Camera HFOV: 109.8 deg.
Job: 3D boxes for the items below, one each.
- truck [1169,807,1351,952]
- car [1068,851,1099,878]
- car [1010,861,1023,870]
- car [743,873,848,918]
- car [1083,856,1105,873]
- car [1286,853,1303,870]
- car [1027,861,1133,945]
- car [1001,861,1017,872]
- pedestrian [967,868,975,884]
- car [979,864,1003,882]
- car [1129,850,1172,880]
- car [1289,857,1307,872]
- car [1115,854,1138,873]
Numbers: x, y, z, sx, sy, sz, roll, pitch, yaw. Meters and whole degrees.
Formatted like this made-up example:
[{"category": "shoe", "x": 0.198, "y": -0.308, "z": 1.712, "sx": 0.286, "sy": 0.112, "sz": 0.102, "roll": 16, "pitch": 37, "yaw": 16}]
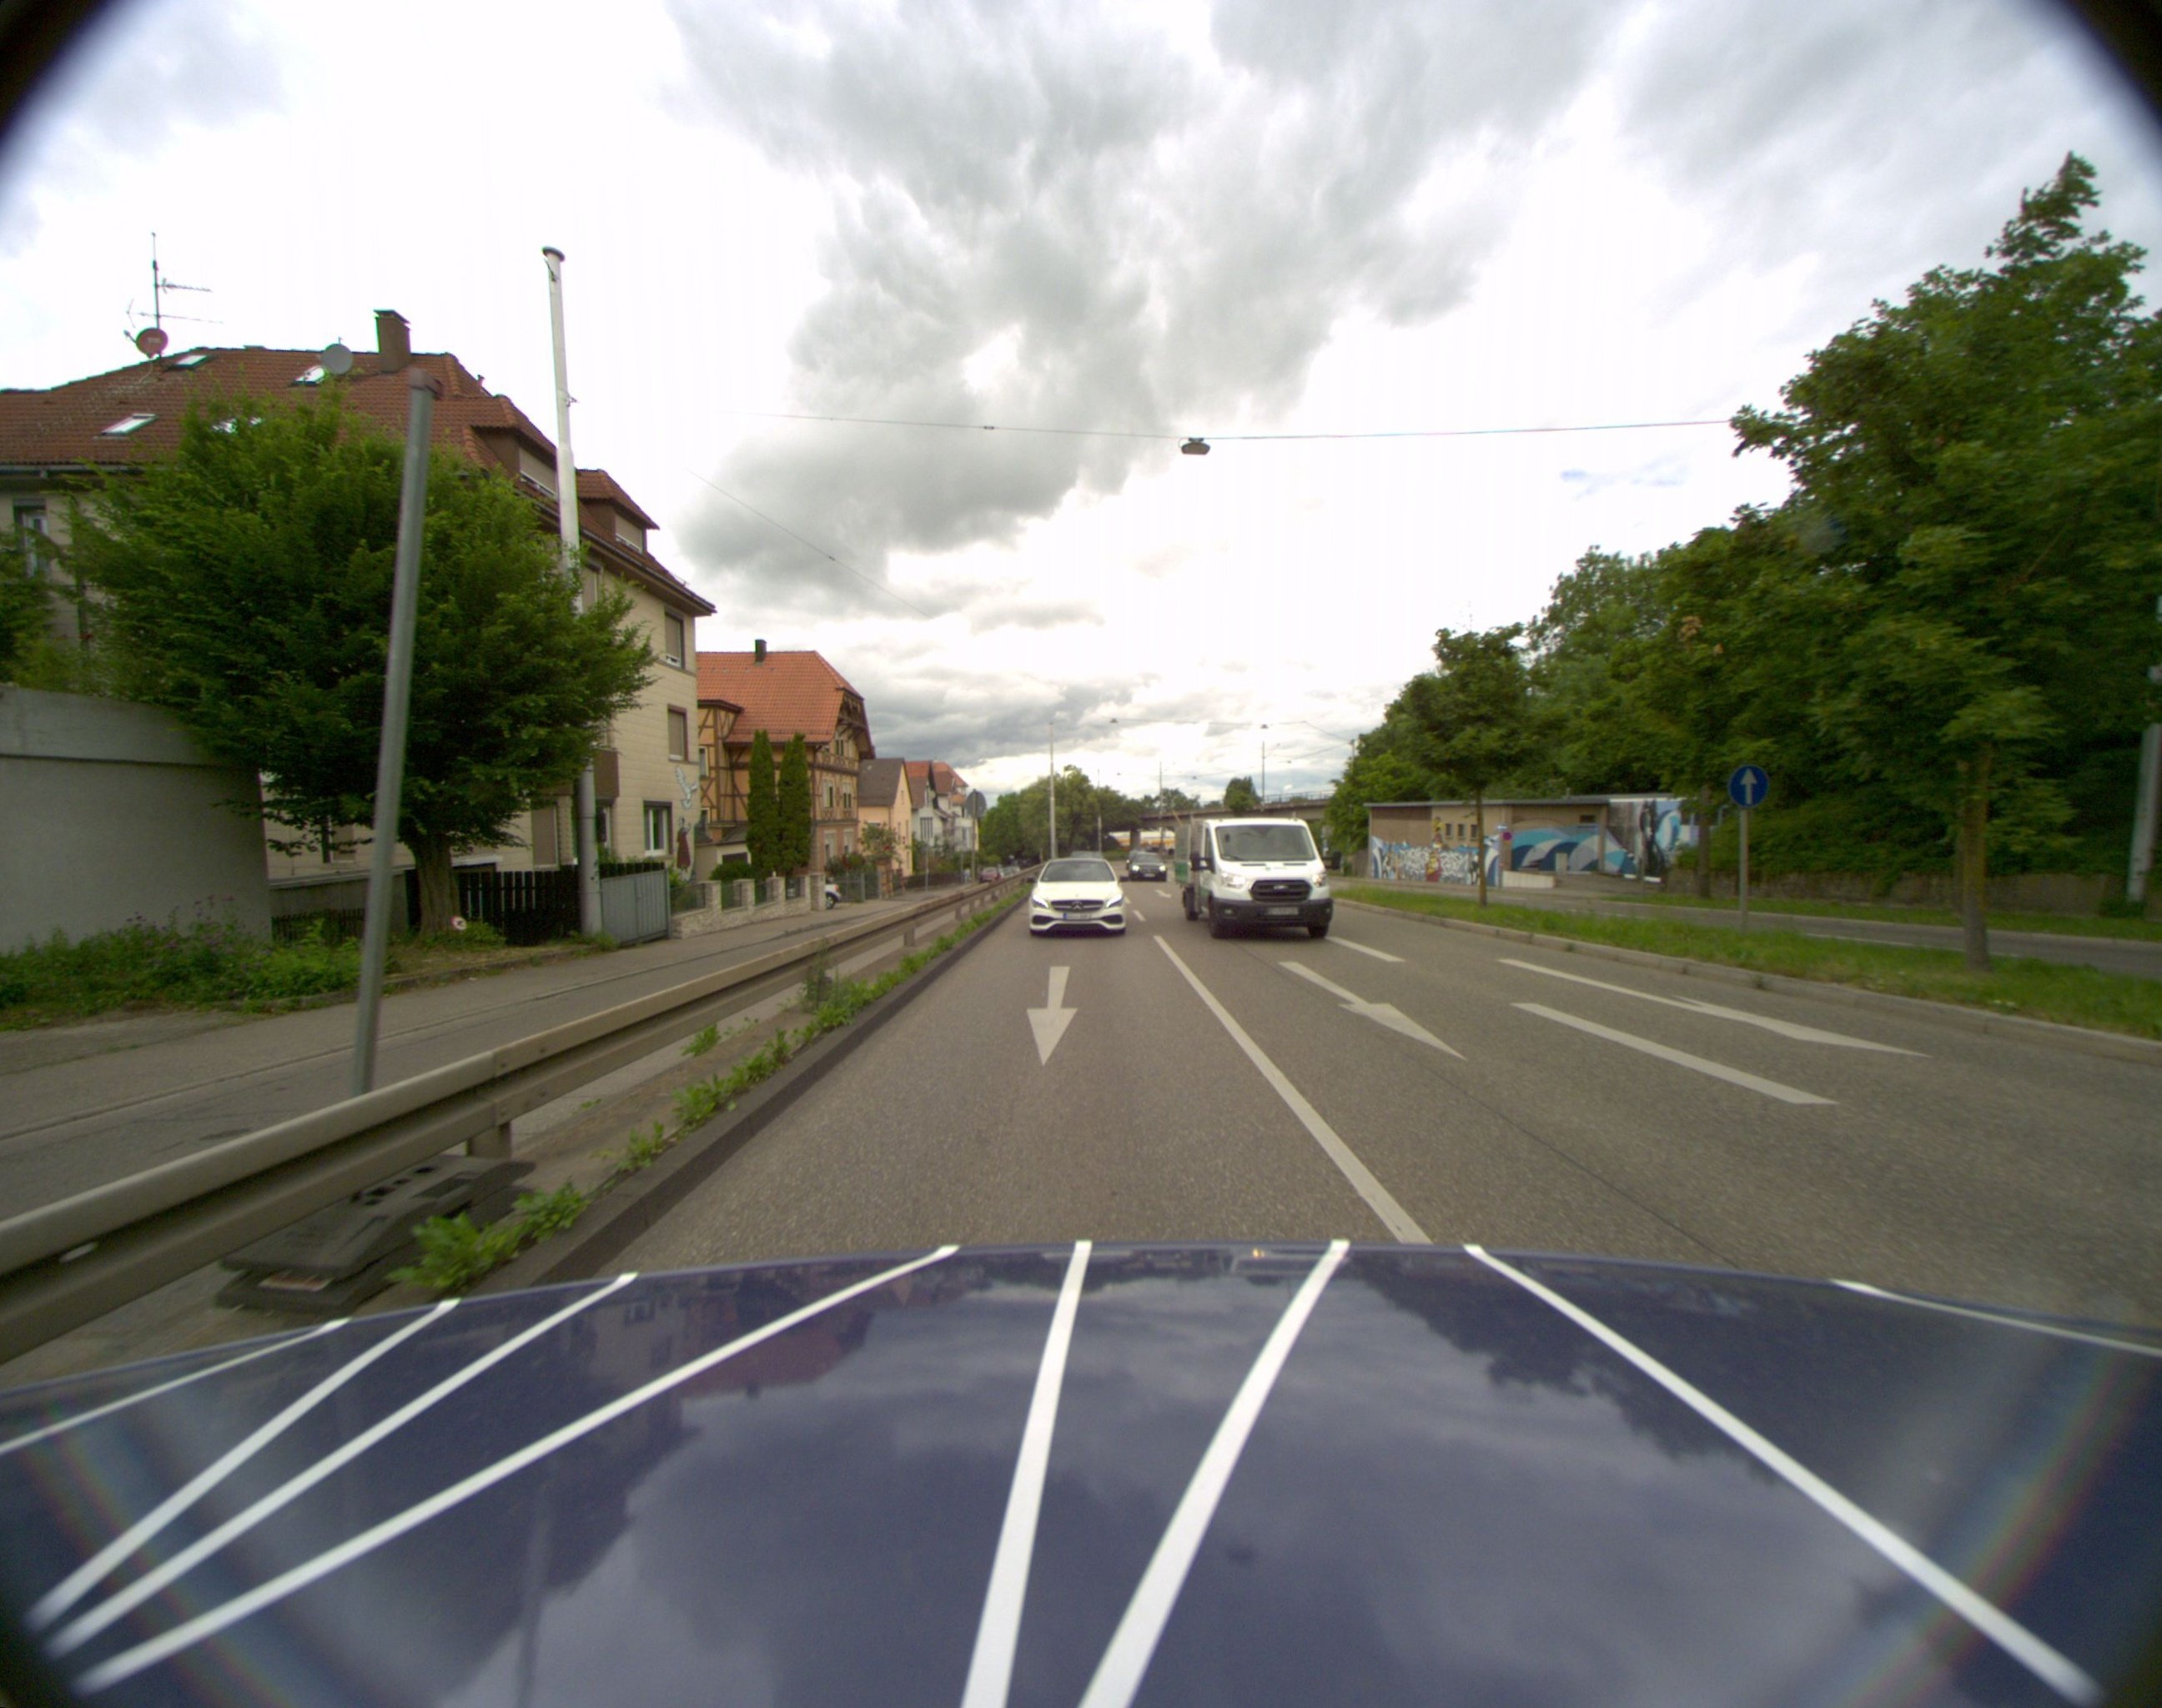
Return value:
[{"category": "truck", "x": 3.235, "y": 0.368, "z": 15.335, "sx": 2.081, "sy": 2.308, "sz": 6.330, "roll": 0, "pitch": 1, "yaw": -1}, {"category": "car", "x": 0.198, "y": 0.614, "z": 46.593, "sx": 1.777, "sy": 1.532, "sz": 4.000, "roll": -2, "pitch": 0, "yaw": 1}, {"category": "car", "x": -10.400, "y": 1.837, "z": 122.280, "sx": 1.851, "sy": 1.354, "sz": 3.999, "roll": -2, "pitch": 0, "yaw": -2}, {"category": "car", "x": -11.634, "y": 1.660, "z": 31.127, "sx": 3.800, "sy": 1.396, "sz": 1.544, "roll": -6, "pitch": 1, "yaw": -19}, {"category": "car", "x": 1.087, "y": 0.873, "z": 65.938, "sx": 1.777, "sy": 1.390, "sz": 4.000, "roll": -2, "pitch": 0, "yaw": 0}, {"category": "car", "x": 23.286, "y": 0.784, "z": 82.828, "sx": 1.634, "sy": 1.793, "sz": 4.005, "roll": -2, "pitch": 0, "yaw": 16}, {"category": "car", "x": 0.017, "y": 0.878, "z": 15.283, "sx": 1.817, "sy": 1.390, "sz": 4.000, "roll": -1, "pitch": 0, "yaw": 1}, {"category": "car", "x": -9.531, "y": 1.616, "z": 100.404, "sx": 1.851, "sy": 1.354, "sz": 3.999, "roll": -1, "pitch": 0, "yaw": -2}, {"category": "pedestrian", "x": -10.287, "y": 2.071, "z": 71.079, "sx": 0.713, "sy": 1.462, "sz": 0.695, "roll": -2, "pitch": 0, "yaw": -2}, {"category": "car", "x": -8.810, "y": 1.858, "z": 74.627, "sx": 1.923, "sy": 1.641, "sz": 3.999, "roll": -2, "pitch": 0, "yaw": -2}, {"category": "car", "x": 3.637, "y": 0.555, "z": 40.444, "sx": 1.915, "sy": 1.472, "sz": 4.400, "roll": -2, "pitch": 0, "yaw": 0}, {"category": "car", "x": 21.769, "y": 1.011, "z": 76.259, "sx": 1.634, "sy": 1.412, "sz": 4.005, "roll": -2, "pitch": 0, "yaw": 16}, {"category": "car", "x": 3.852, "y": 0.788, "z": 64.807, "sx": 1.777, "sy": 1.520, "sz": 4.000, "roll": 0, "pitch": 0, "yaw": 1}]
